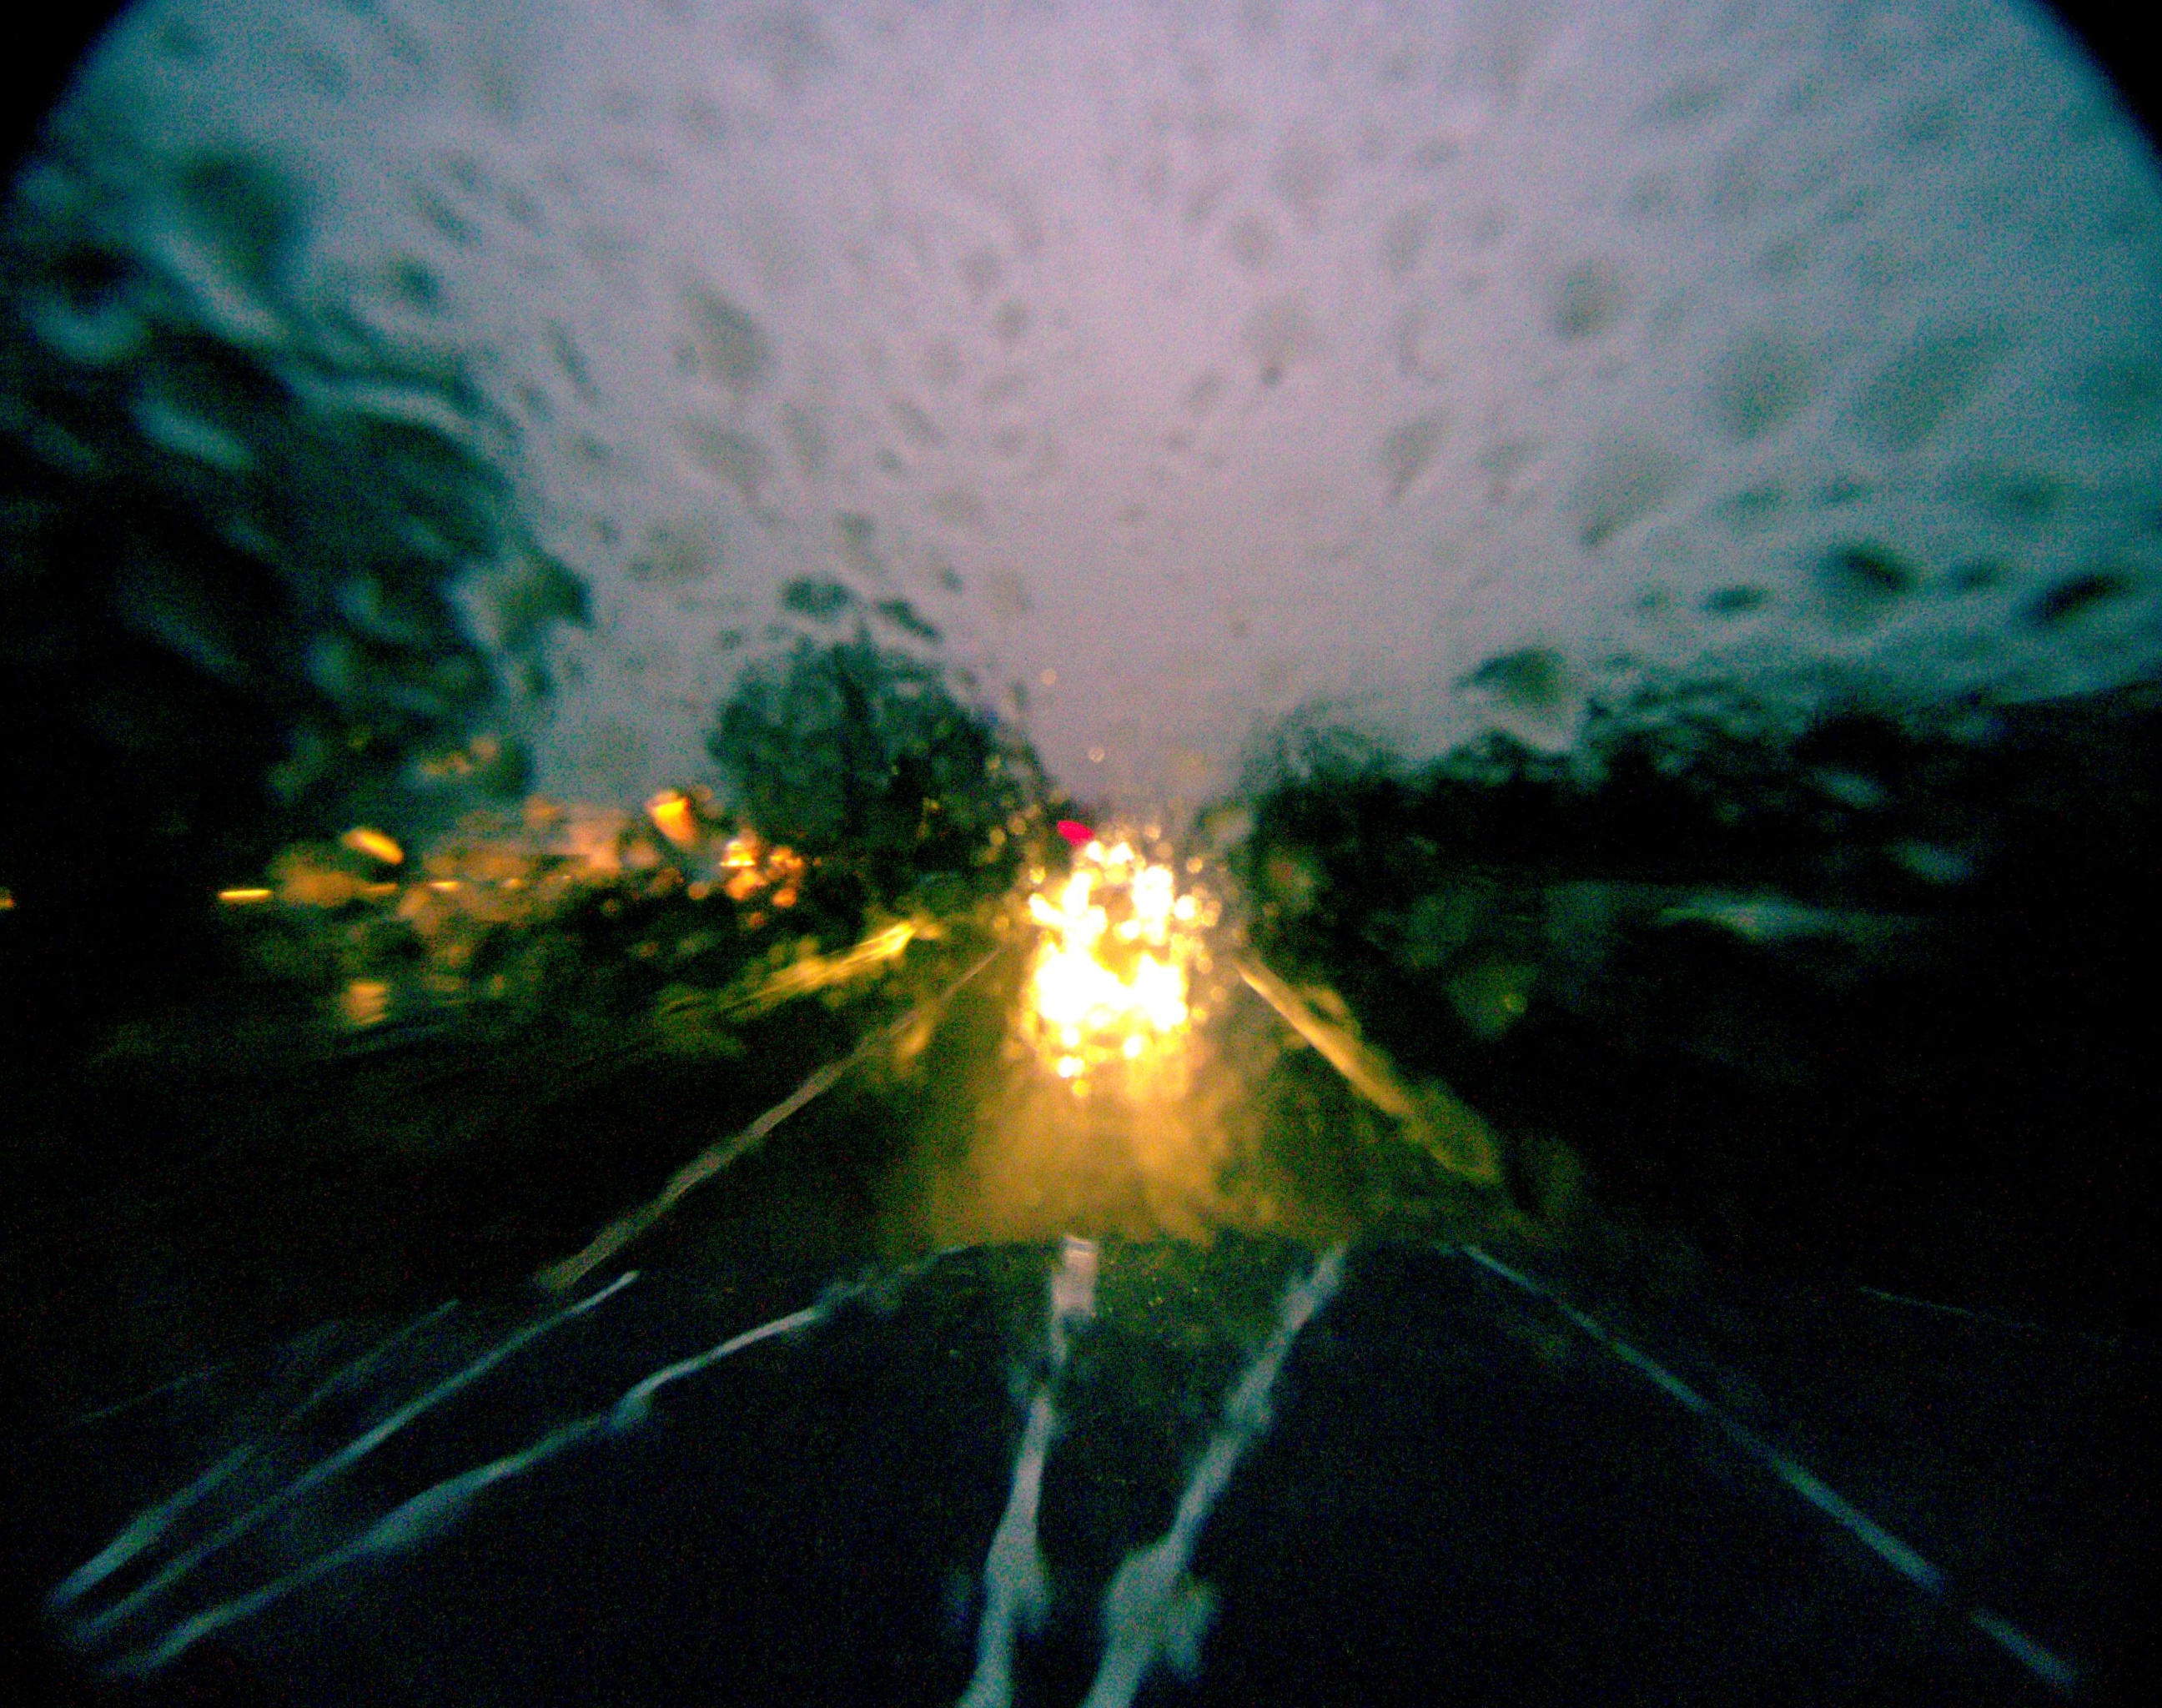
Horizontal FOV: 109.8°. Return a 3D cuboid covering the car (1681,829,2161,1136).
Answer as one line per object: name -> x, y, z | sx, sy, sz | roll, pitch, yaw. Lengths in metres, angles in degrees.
car -> 6.485, 0.648, 5.159 | 1.698, 1.569, 3.883 | -2, 1, -1

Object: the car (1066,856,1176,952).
car -> 0.754, 0.881, 15.385 | 1.809, 1.452, 4.245 | -4, 1, 1

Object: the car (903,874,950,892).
car -> -13.946, 2.636, 68.738 | 4.012, 1.404, 1.714 | -2, 1, -5

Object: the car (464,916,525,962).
car -> -23.620, 3.375, 30.704 | 1.718, 1.404, 4.003 | -2, 1, -35

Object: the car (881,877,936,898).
car -> -13.517, 2.584, 59.645 | 4.013, 1.424, 1.714 | -2, 1, -6

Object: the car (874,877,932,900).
car -> -13.361, 2.560, 57.077 | 4.013, 1.483, 1.714 | -2, 1, -6

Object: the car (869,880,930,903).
car -> -12.871, 2.638, 54.033 | 4.013, 1.404, 1.714 | -2, 1, -6

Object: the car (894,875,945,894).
car -> -13.862, 2.603, 65.409 | 4.012, 1.404, 1.714 | -2, 1, -5

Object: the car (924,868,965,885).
car -> -14.162, 2.329, 79.209 | 4.012, 1.588, 1.805 | -2, 1, -5

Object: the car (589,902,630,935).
car -> -23.838, 3.236, 38.396 | 1.532, 1.330, 3.578 | -2, 1, -35

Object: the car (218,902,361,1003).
car -> -24.402, 2.890, 23.676 | 2.285, 2.426, 5.226 | -2, 1, -38
